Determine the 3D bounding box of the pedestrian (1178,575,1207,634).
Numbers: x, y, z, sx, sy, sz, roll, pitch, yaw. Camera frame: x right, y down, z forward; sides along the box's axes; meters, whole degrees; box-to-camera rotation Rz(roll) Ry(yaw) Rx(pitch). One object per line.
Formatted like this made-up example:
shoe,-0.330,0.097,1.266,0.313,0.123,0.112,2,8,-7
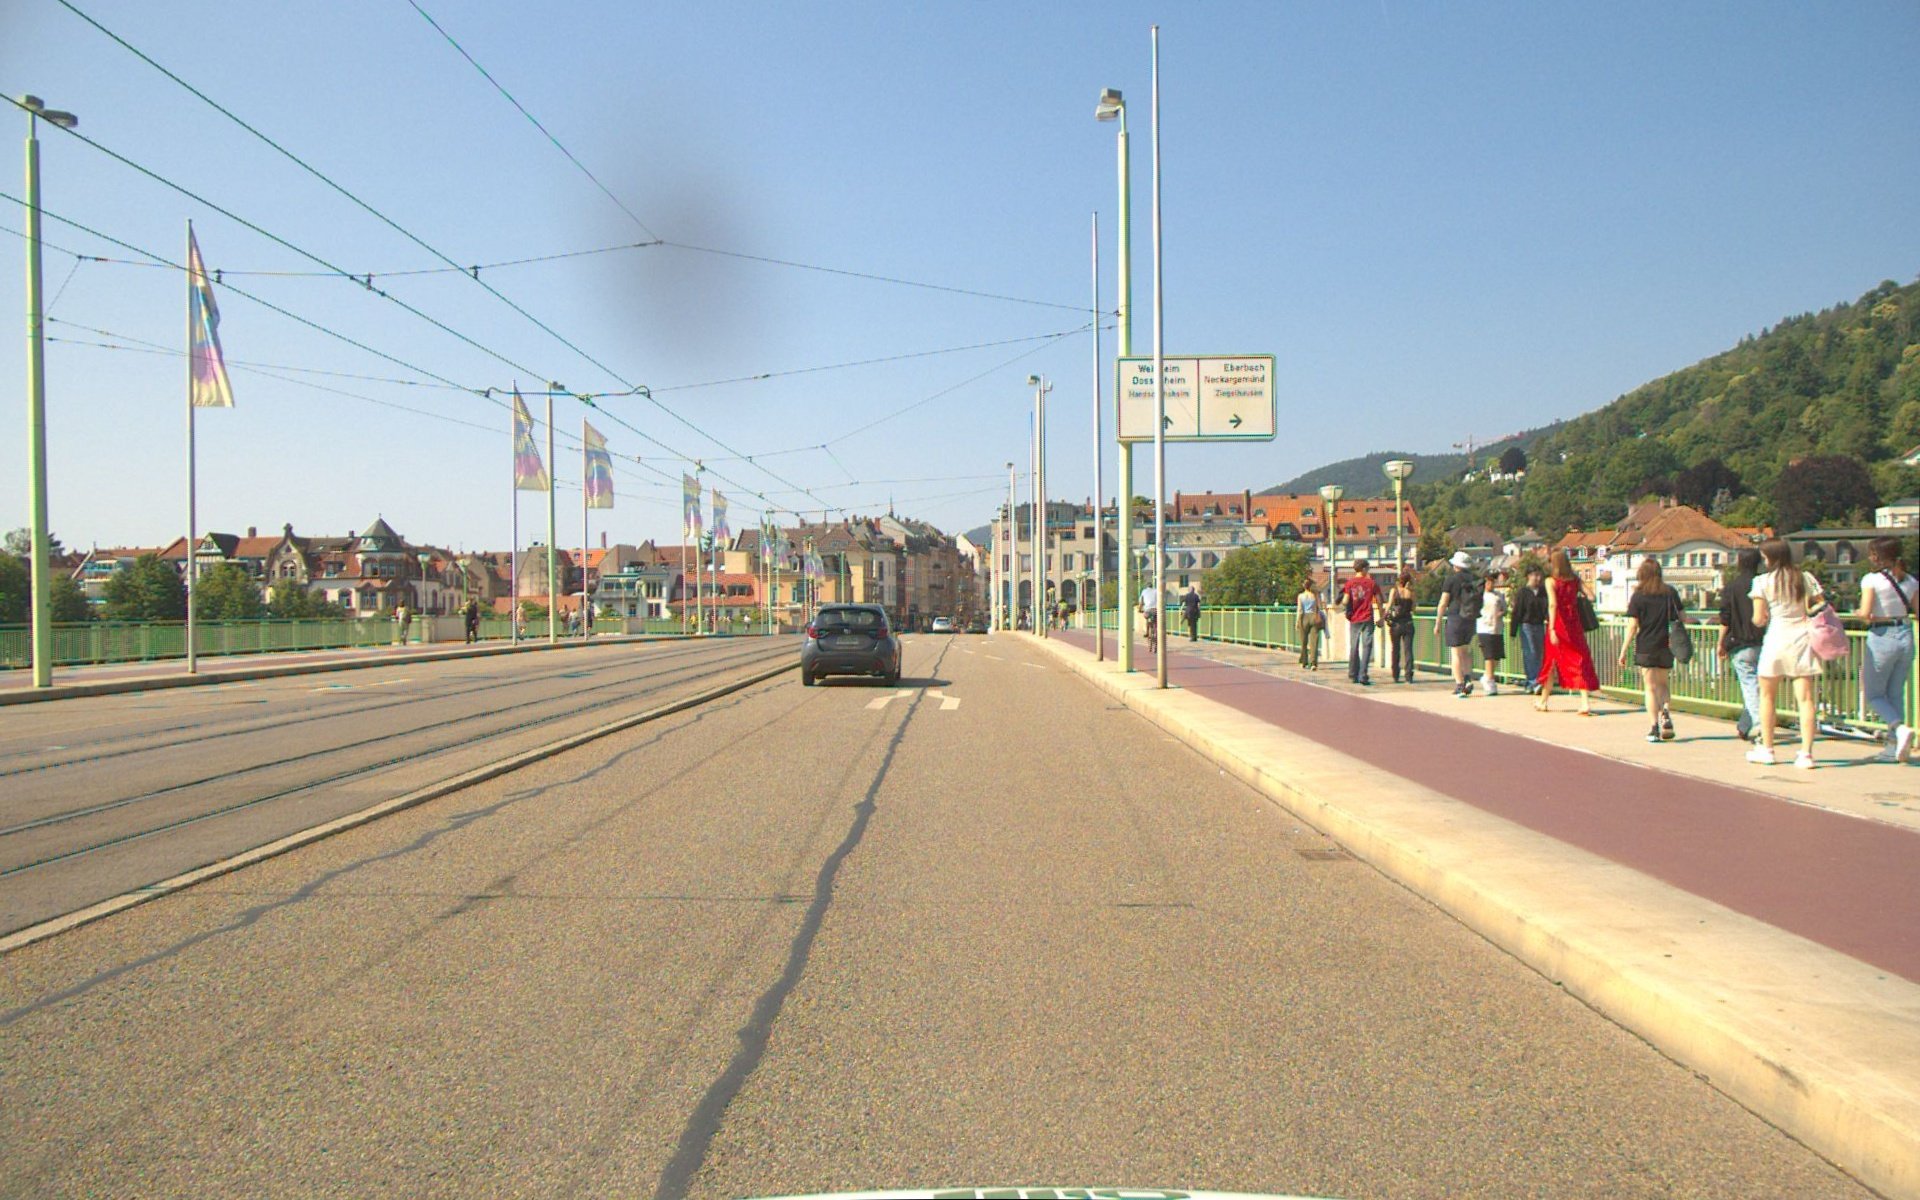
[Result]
pedestrian,7.213,0.125,51.343,0.642,1.774,0.977,-1,2,-5

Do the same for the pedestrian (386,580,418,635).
pedestrian,-21.141,0.294,62.677,0.880,2.049,1.041,-1,1,-3

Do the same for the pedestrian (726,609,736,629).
pedestrian,-20.463,1.699,147.761,0.813,1.752,1.094,0,0,-1

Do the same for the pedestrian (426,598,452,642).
pedestrian,-21.344,0.816,67.751,0.739,1.752,1.175,-1,0,-2

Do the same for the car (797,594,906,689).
car,-1.981,0.725,31.115,1.872,1.567,3.998,-2,1,-2

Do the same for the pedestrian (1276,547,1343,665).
pedestrian,6.227,0.098,29.522,0.857,2.049,1.058,-1,0,-6

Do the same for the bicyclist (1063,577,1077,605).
bicyclist,6.561,-0.519,98.313,0.720,1.664,0.866,-1,0,-2

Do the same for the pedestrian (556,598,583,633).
pedestrian,-20.232,0.796,85.766,1.074,1.759,1.295,0,0,2

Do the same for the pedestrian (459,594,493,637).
pedestrian,-20.547,0.642,70.255,1.075,1.789,1.294,-1,0,-3

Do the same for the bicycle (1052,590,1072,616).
bicycle,5.022,0.155,81.579,0.681,1.214,2.077,-2,0,-4

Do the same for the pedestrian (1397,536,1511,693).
pedestrian,6.288,0.179,21.125,0.966,1.928,1.253,-1,0,-6

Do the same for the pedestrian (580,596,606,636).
pedestrian,-19.118,0.831,86.101,1.075,2.049,1.294,-1,1,-3

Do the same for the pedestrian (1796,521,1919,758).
pedestrian,6.947,0.282,12.424,0.817,1.706,0.884,-1,0,-6

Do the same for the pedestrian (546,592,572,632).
pedestrian,-20.965,0.622,86.399,1.075,2.049,1.129,-1,1,-3

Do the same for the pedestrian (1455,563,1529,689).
pedestrian,6.942,0.323,21.600,0.637,1.589,0.691,-2,1,-7

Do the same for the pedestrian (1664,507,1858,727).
pedestrian,6.966,0.134,14.449,0.966,1.800,1.253,-2,1,-6

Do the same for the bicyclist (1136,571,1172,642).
bicyclist,4.941,0.160,42.221,0.660,1.774,1.149,-2,0,-4

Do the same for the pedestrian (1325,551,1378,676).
pedestrian,5.839,0.193,24.673,0.574,1.825,0.632,-1,0,-5

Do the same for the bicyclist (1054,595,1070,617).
bicyclist,5.032,0.293,81.411,0.653,1.063,0.979,-1,0,-4

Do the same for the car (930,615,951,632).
car,-1.797,2.176,152.953,1.768,1.494,3.998,-3,0,-3

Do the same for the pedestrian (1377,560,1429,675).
pedestrian,6.577,0.254,24.581,0.512,1.678,0.699,-1,0,-6

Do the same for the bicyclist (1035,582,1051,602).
bicyclist,4.475,-0.423,89.325,0.720,1.048,1.175,-1,0,-2

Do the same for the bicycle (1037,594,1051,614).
bicycle,4.536,0.209,89.341,0.606,1.056,2.050,-1,0,-2

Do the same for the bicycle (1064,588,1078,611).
bicycle,6.585,-0.037,98.155,0.606,1.293,2.215,-1,0,-2

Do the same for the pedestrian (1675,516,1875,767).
pedestrian,6.067,0.294,12.364,0.966,1.781,0.929,-1,0,-6

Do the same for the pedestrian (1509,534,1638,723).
pedestrian,6.658,0.300,17.990,0.995,1.988,0.939,-1,0,-2

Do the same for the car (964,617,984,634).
car,1.399,2.515,163.345,1.766,1.494,4.001,-3,0,2

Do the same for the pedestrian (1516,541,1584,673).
pedestrian,7.548,0.081,21.181,0.636,1.660,0.692,0,1,1

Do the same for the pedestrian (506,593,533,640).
pedestrian,-19.904,0.731,74.792,0.950,2.049,1.100,-1,1,-5

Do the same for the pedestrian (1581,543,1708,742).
pedestrian,6.041,0.365,14.631,0.641,1.678,0.867,-2,0,-6

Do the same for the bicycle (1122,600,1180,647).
bicycle,4.873,0.578,42.476,0.777,1.115,3.741,-2,1,-4
